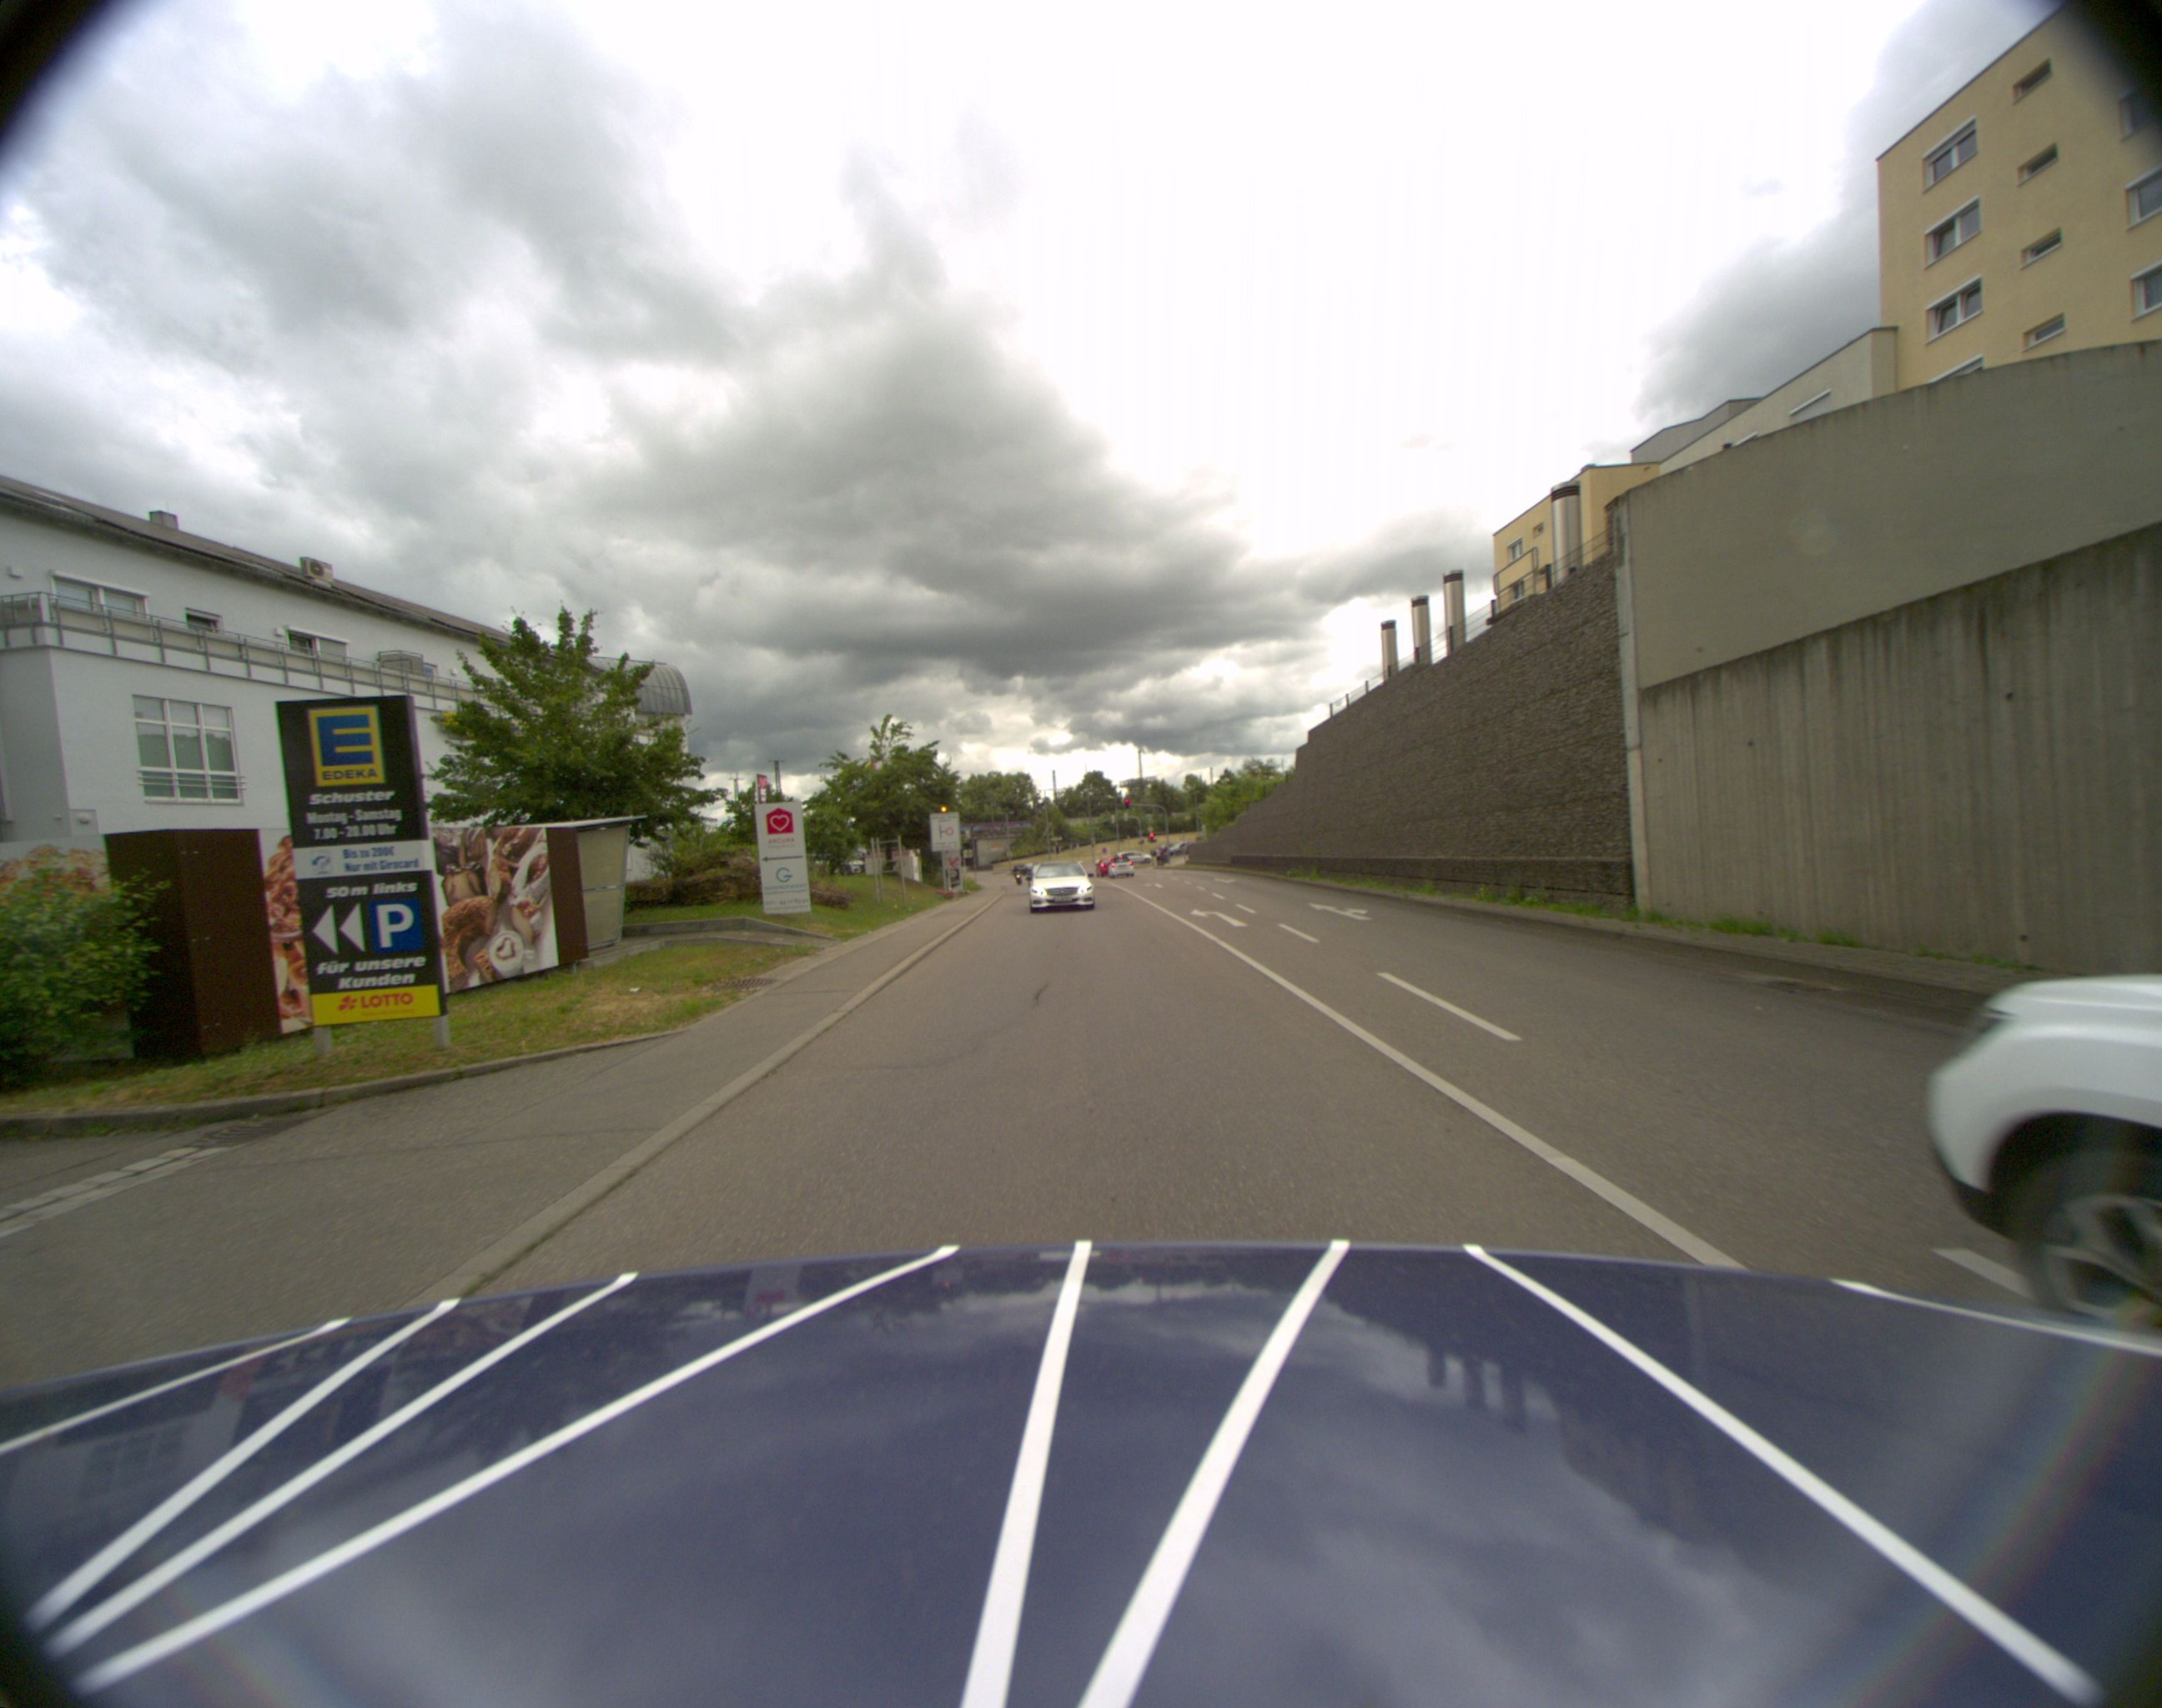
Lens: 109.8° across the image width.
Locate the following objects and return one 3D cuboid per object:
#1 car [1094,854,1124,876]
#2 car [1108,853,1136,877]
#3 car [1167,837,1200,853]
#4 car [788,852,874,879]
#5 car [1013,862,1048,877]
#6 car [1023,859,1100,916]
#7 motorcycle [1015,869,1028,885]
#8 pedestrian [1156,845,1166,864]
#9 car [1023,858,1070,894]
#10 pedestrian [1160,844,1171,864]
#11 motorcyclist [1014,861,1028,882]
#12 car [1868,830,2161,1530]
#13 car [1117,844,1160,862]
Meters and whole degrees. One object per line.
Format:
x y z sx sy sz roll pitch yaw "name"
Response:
2.226 0.833 61.676 1.759 1.515 4.090 -6 1 -6 "car"
2.968 0.785 55.408 1.548 1.514 2.913 -6 0 -3 "car"
14.009 -1.243 103.450 4.268 1.719 1.756 -7 2 -36 "car"
-15.674 0.704 47.810 4.707 1.373 1.715 -3 2 1 "car"
-6.188 1.889 92.461 1.762 1.525 4.244 -8 2 -43 "car"
-0.491 0.950 23.259 1.904 1.471 4.095 -2 0 4 "car"
-4.895 1.875 62.250 0.883 1.098 2.359 -6 1 -6 "motorcycle"
7.433 0.045 70.736 0.664 1.669 0.624 -6 2 14 "pedestrian"
-1.812 1.062 38.688 1.760 1.532 3.996 -6 1 -9 "car"
7.770 -0.015 70.082 0.624 1.817 0.664 -7 2 -18 "pedestrian"
-4.917 1.454 62.070 0.883 1.596 1.243 -6 1 -6 "motorcyclist"
3.407 0.733 0.275 1.866 1.622 4.208 -3 0 1 "car"
6.687 -0.085 88.542 4.512 1.629 1.829 -6 2 -12 "car"
